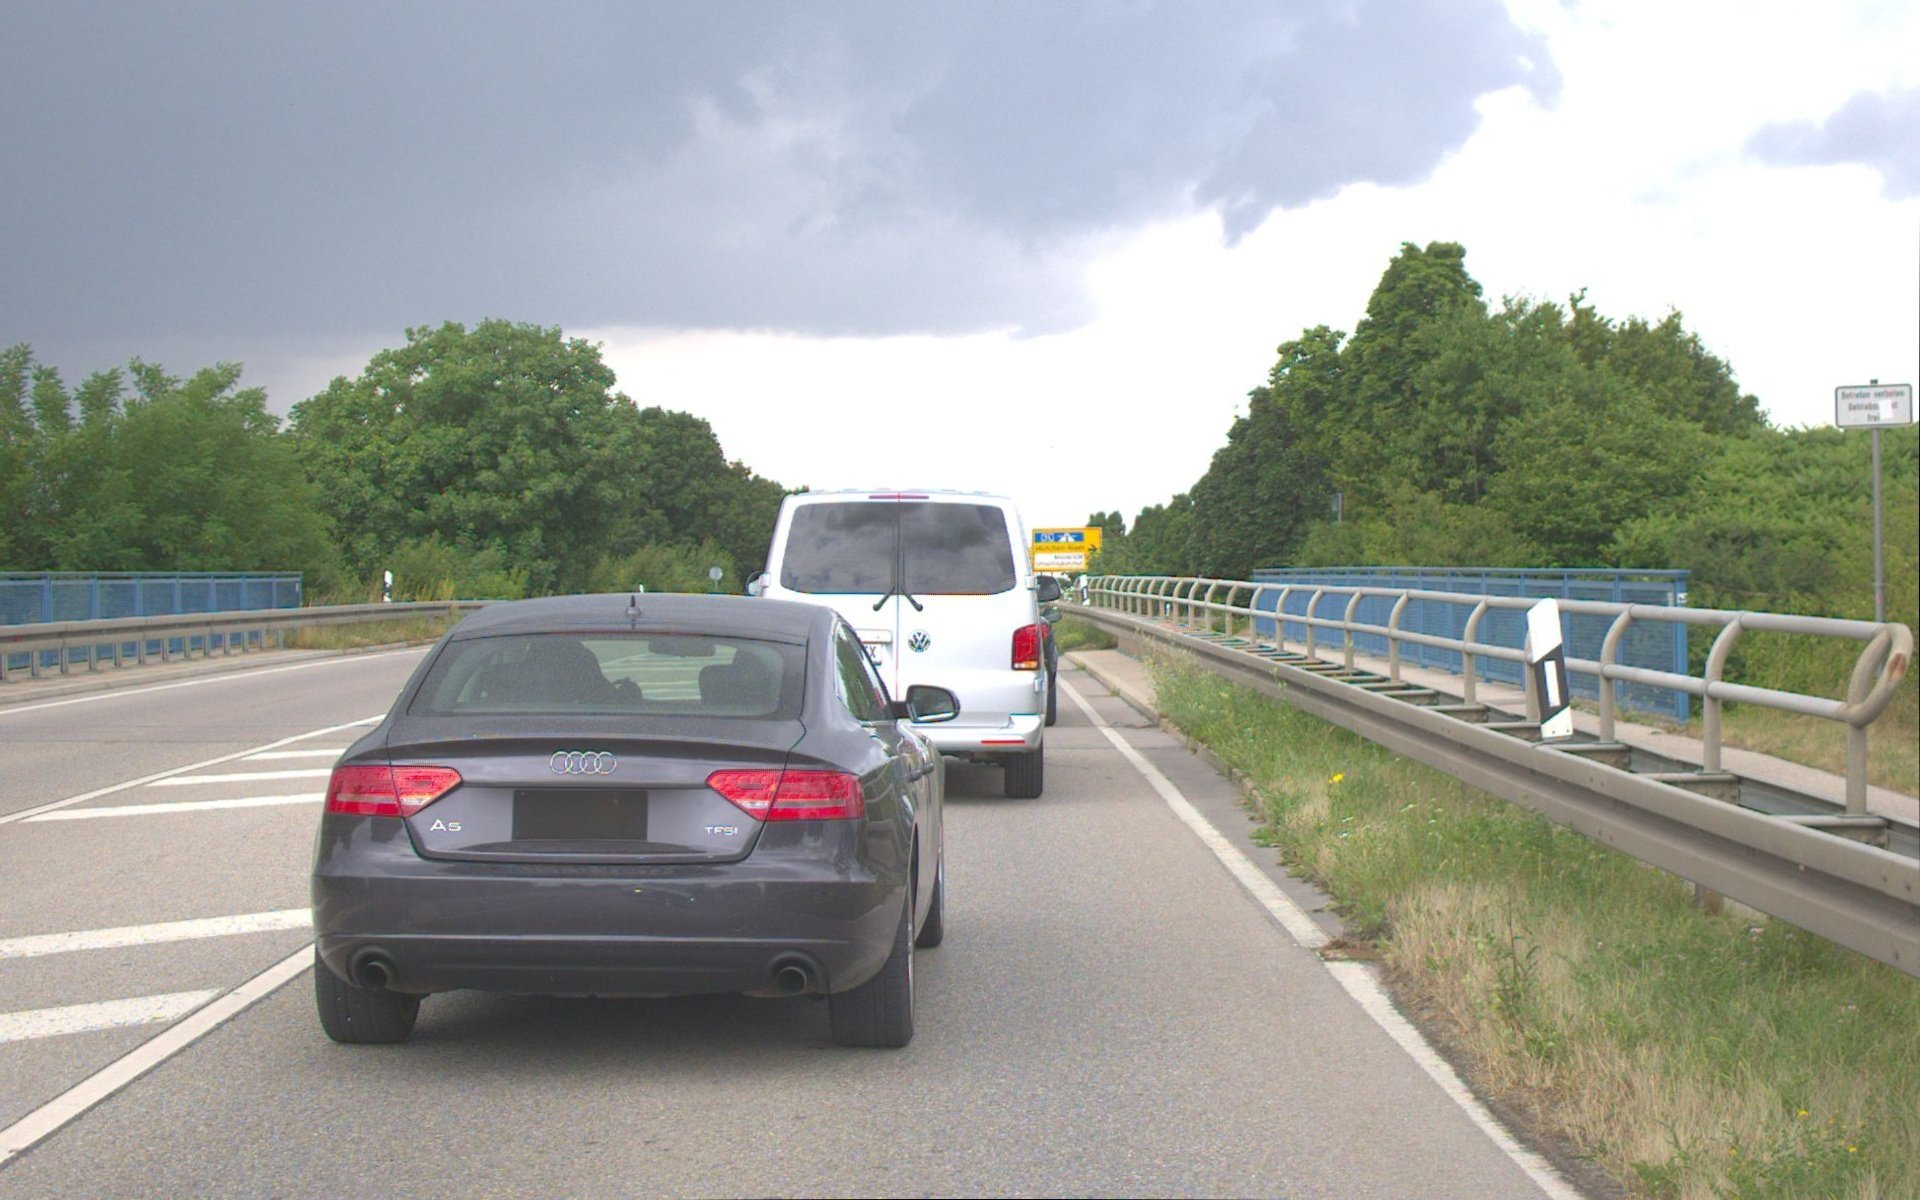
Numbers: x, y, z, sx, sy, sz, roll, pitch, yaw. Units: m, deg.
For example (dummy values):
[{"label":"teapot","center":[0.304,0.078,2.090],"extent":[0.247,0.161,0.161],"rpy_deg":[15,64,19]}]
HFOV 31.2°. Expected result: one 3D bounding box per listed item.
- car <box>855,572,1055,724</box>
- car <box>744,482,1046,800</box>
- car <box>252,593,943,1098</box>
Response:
[{"label":"car","center":[-0.009,0.421,33.384],"extent":[1.821,1.376,4.072],"rpy_deg":[0,0,1]},{"label":"car","center":[-0.403,0.232,22.955],"extent":[1.828,1.929,4.000],"rpy_deg":[0,0,0]},{"label":"car","center":[-1.019,0.680,11.598],"extent":[1.821,1.376,4.072],"rpy_deg":[0,0,1]}]
